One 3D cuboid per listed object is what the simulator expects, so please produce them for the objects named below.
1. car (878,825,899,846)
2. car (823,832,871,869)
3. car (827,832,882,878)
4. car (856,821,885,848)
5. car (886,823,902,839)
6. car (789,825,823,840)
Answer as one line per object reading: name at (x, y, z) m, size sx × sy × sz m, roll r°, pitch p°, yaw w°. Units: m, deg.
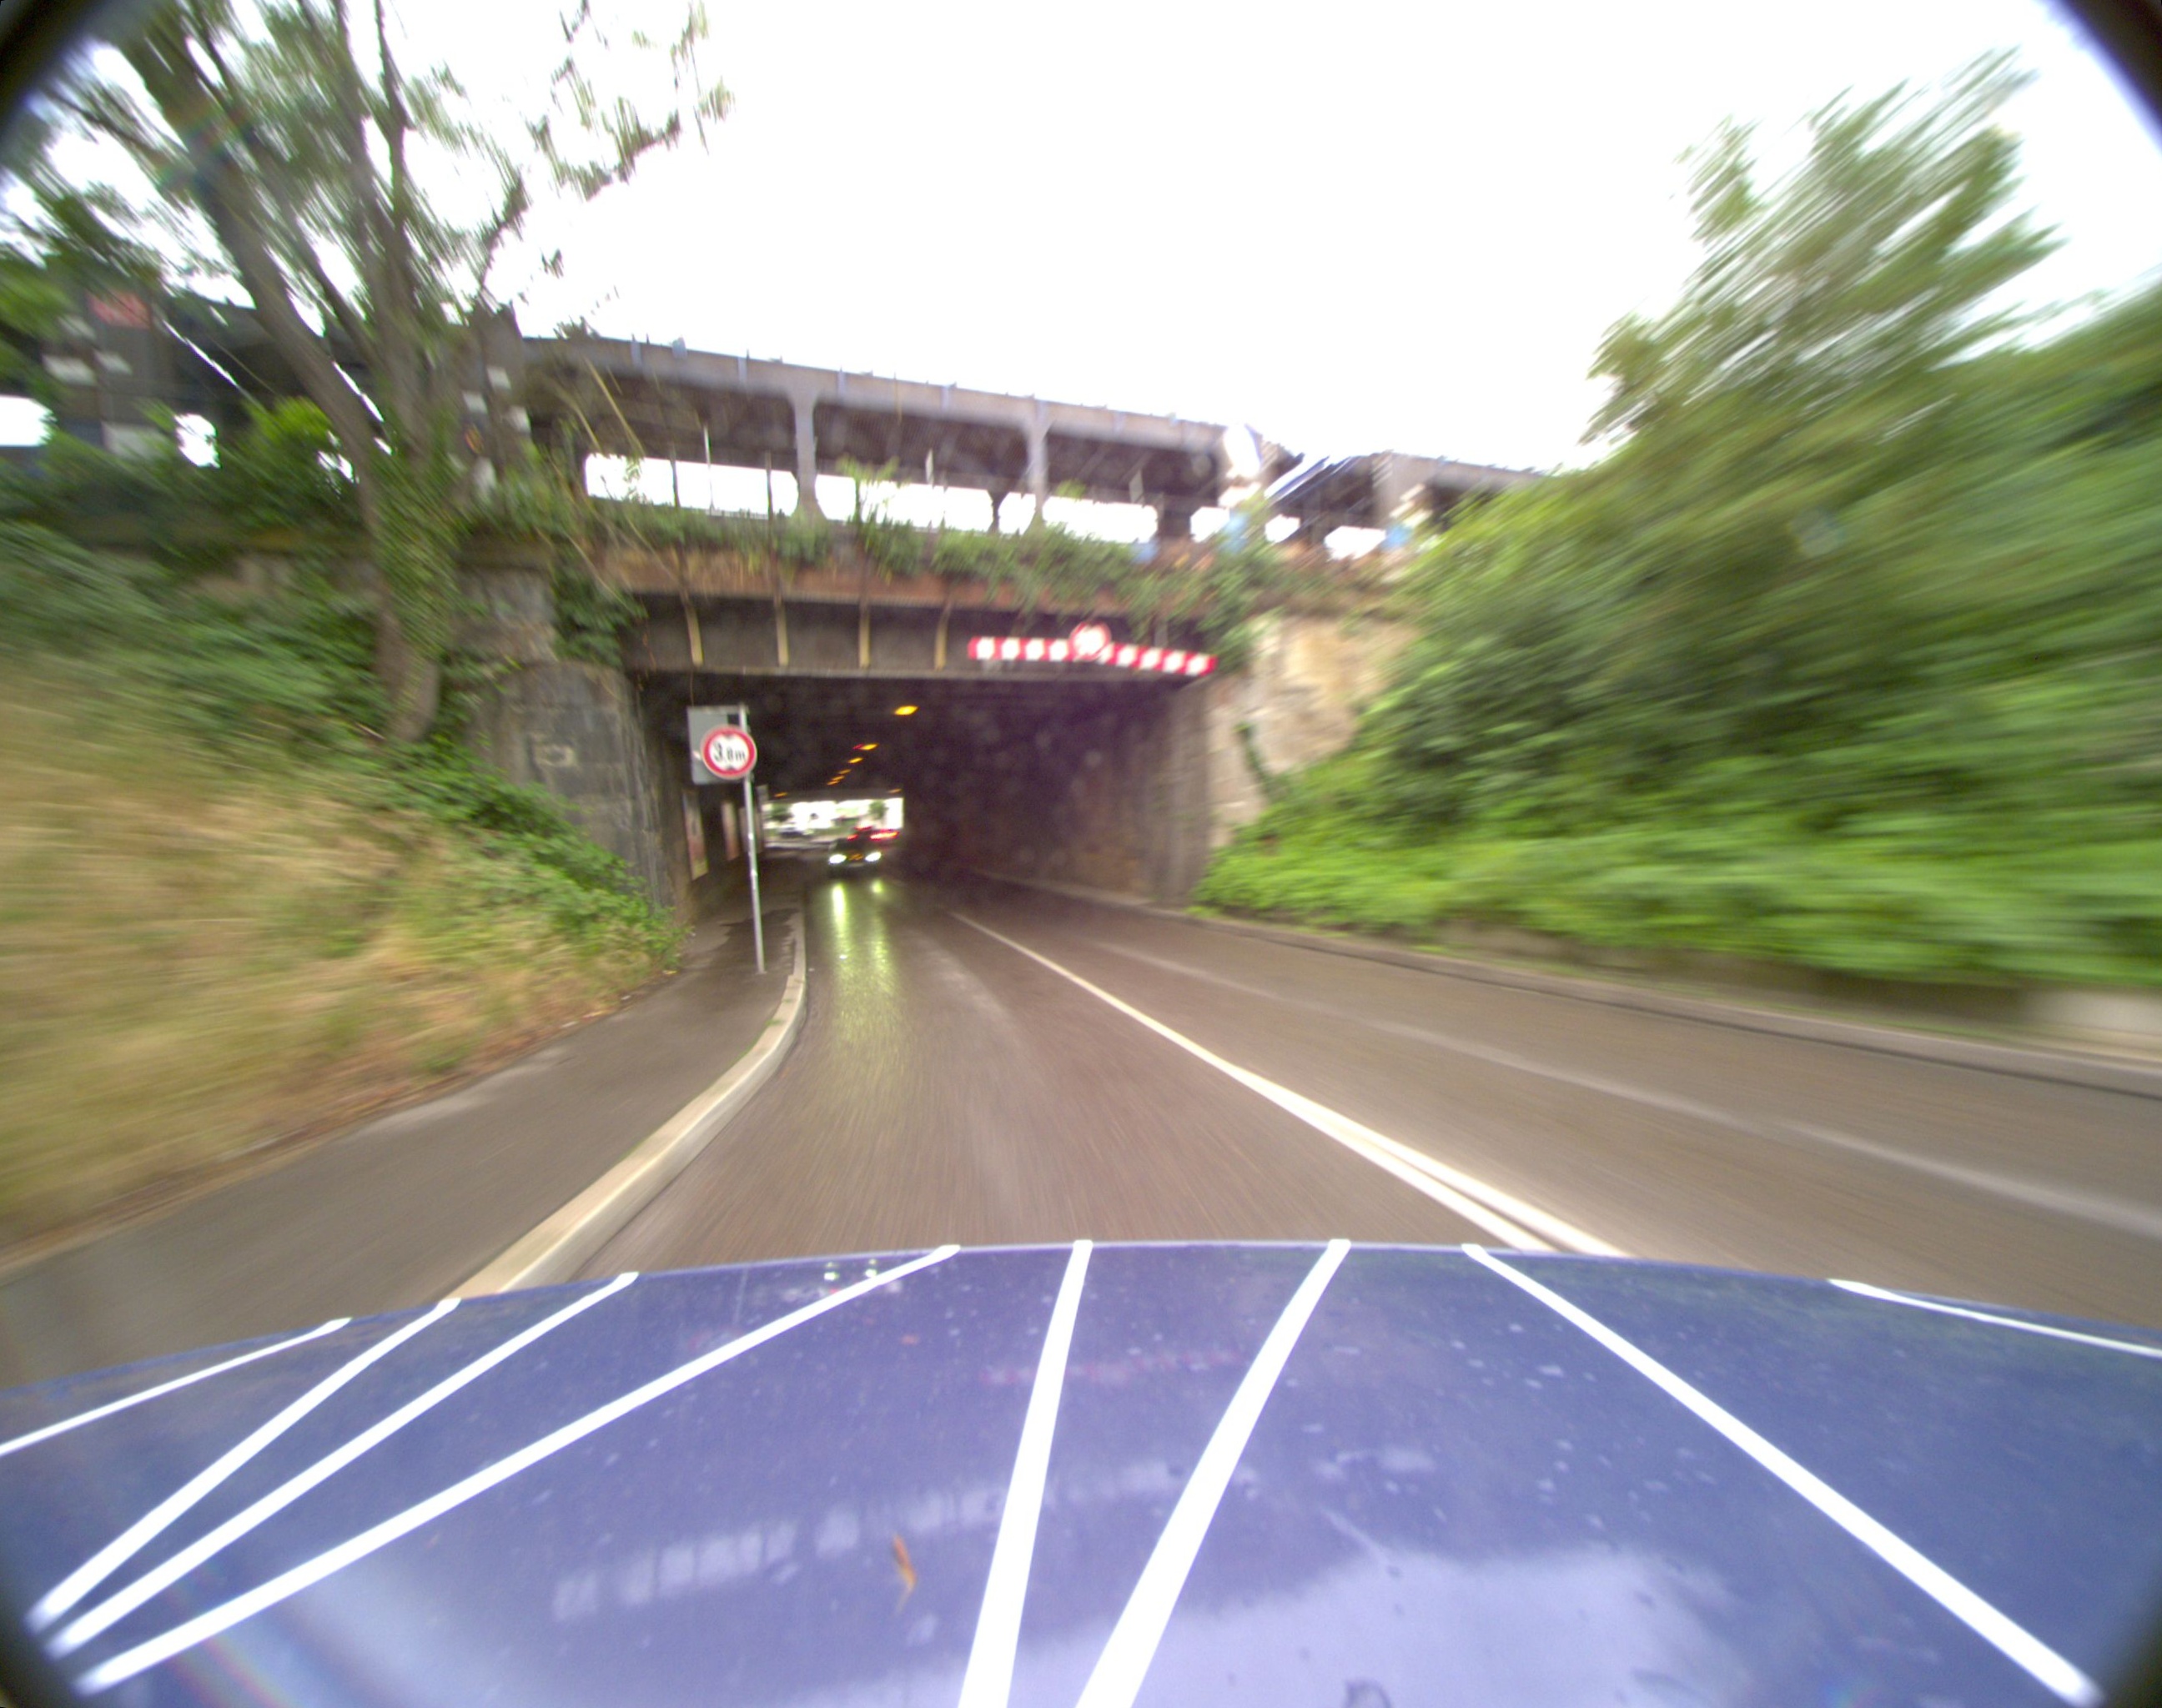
car at (-15.930, -1.591, 62.876) m, size 1.595 × 1.534 × 4.065 m, roll -4°, pitch 4°, yaw -14°
car at (-11.074, -0.207, 35.756) m, size 1.814 × 1.510 × 4.043 m, roll -3°, pitch 4°, yaw -21°
car at (-9.156, -0.010, 30.530) m, size 1.813 × 1.510 × 4.043 m, roll -4°, pitch 4°, yaw -20°
car at (-15.534, -1.477, 56.076) m, size 1.915 × 1.792 × 3.992 m, roll -4°, pitch 4°, yaw -16°
car at (-17.097, -2.093, 69.351) m, size 1.279 × 1.309 × 3.313 m, roll -4°, pitch 4°, yaw -15°
car at (-30.511, -2.426, 84.225) m, size 3.252 × 1.450 × 1.278 m, roll -2°, pitch 4°, yaw 8°
